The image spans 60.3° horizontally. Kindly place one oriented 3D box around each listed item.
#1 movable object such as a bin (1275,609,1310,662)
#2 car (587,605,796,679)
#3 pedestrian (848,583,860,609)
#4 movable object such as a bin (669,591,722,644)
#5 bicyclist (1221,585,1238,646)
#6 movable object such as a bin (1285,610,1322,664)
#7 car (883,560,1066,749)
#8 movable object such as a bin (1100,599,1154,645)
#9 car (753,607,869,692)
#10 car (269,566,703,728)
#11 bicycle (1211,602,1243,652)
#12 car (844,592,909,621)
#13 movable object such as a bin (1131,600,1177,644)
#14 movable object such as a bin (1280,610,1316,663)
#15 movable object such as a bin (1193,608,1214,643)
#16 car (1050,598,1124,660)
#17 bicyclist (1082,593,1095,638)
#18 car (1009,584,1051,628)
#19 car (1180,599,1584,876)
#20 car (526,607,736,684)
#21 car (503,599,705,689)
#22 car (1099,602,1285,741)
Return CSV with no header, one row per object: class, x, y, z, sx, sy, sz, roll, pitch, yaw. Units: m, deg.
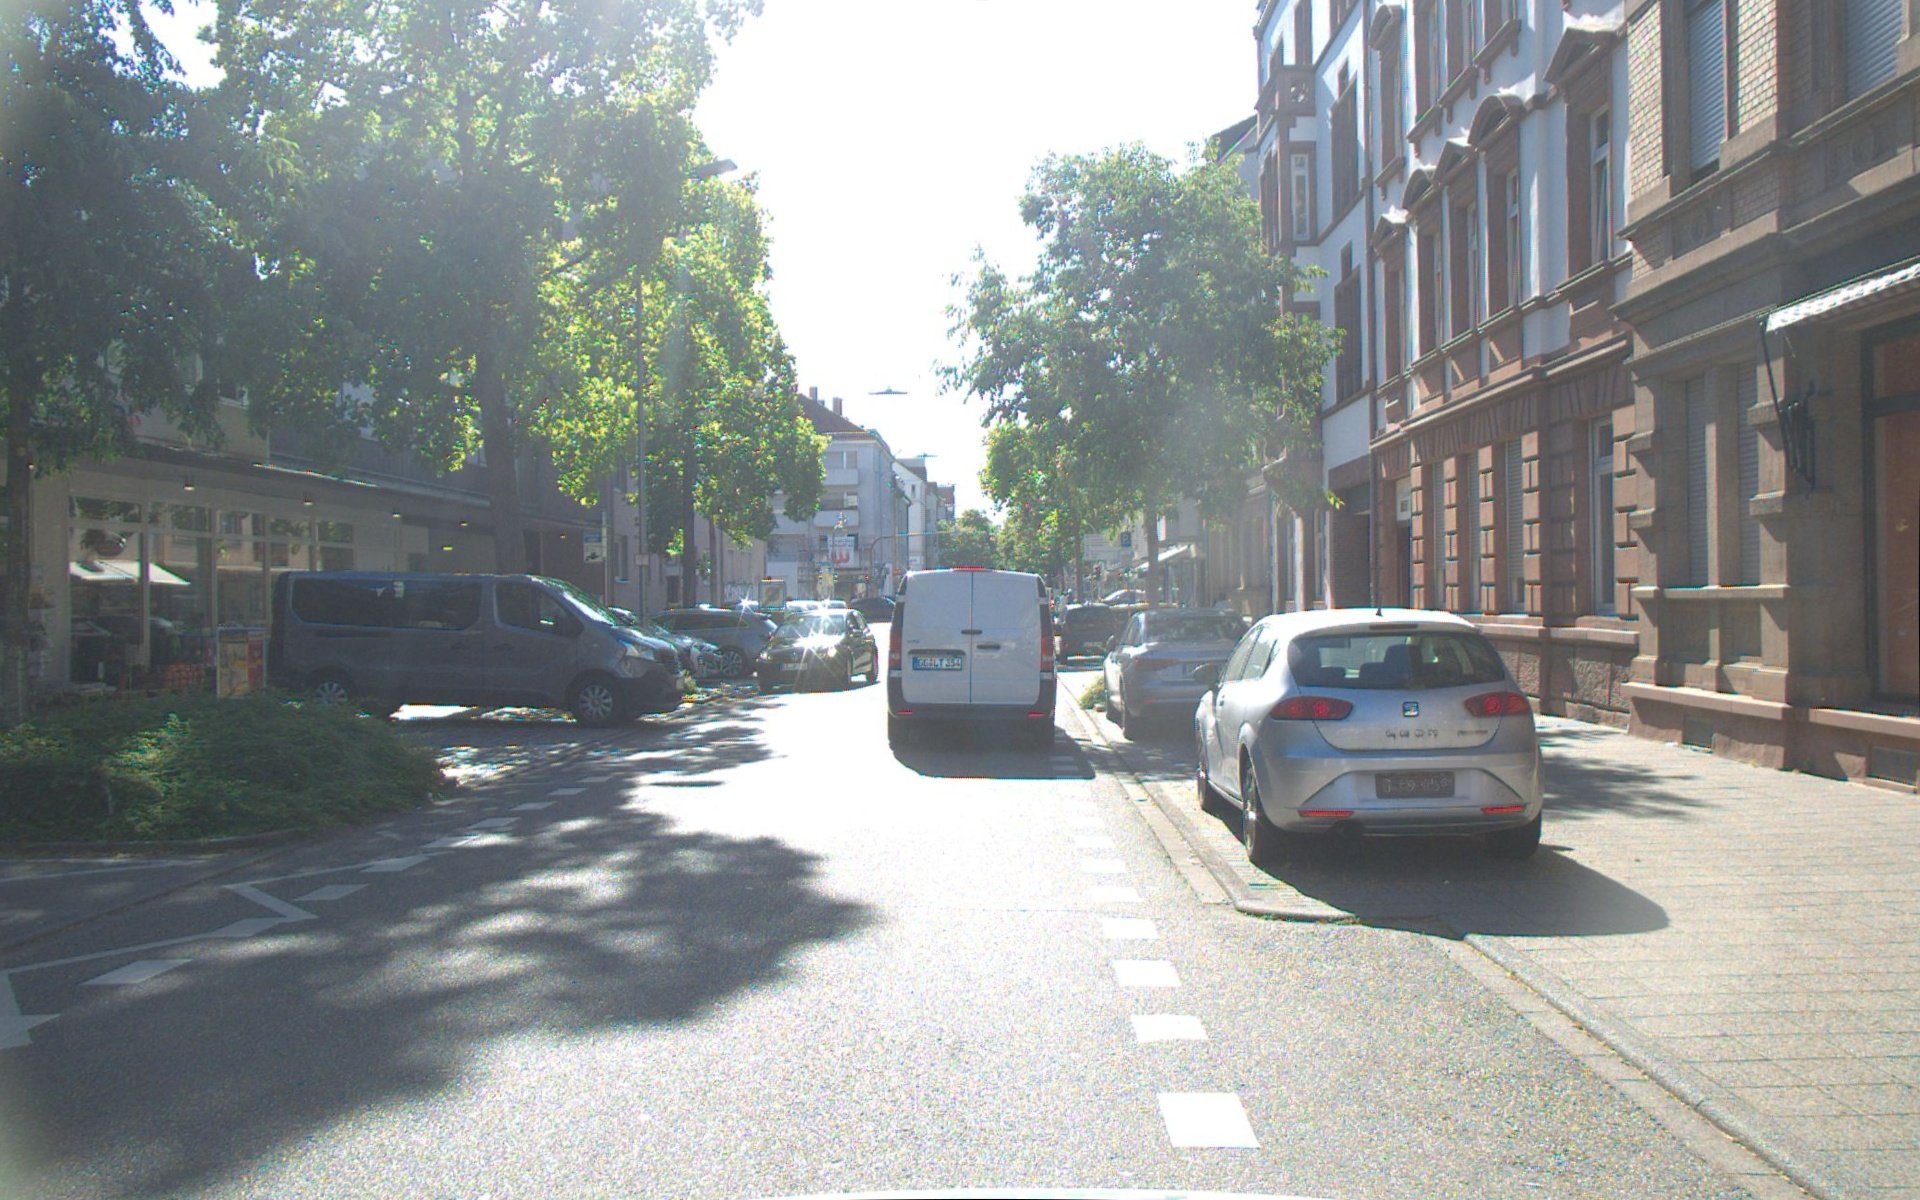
movable object such as a bin,7.053,0.749,35.098,0.624,1.087,0.632,-1,0,1
car,-5.824,0.899,36.212,4.215,1.485,1.763,1,0,3
pedestrian,-6.893,-0.254,107.549,0.669,1.692,0.601,-1,0,0
movable object such as a bin,-7.519,0.496,47.020,1.204,1.475,1.077,-1,0,9
bicyclist,6.671,0.386,40.941,0.353,1.503,0.531,0,0,2
movable object such as a bin,7.047,0.749,33.942,0.624,1.087,0.639,-1,0,1
car,0.118,0.545,19.606,1.881,1.947,4.887,0,0,-1
movable object such as a bin,5.156,0.667,51.092,1.260,1.371,1.092,-1,0,-41
car,-2.791,0.905,31.766,1.726,1.464,3.961,-2,0,1
car,-6.206,0.594,22.095,5.183,2.009,2.016,1,0,1
bicycle,6.597,0.662,40.940,0.525,1.168,2.125,-4,-1,4
car,-5.000,0.375,99.510,3.907,1.668,1.999,-1,0,-2
movable object such as a bin,6.131,0.681,52.222,1.022,1.371,1.103,-1,0,40
movable object such as a bin,7.049,0.751,34.513,0.624,1.087,0.521,-1,0,1
movable object such as a bin,7.503,0.786,50.968,0.586,1.060,0.546,-1,0,0
car,3.259,0.732,43.102,1.602,1.501,3.580,-1,0,0
bicyclist,4.411,0.542,56.817,0.430,1.535,0.497,0,0,1
car,3.222,0.267,76.934,1.778,1.955,4.644,-1,0,0
car,2.576,0.753,11.049,1.702,1.477,4.000,-1,0,1
car,-6.606,0.904,33.533,3.906,1.489,1.812,0,0,-2
car,-6.462,0.785,30.310,3.532,1.579,1.680,0,0,-10
car,2.714,0.784,20.217,1.702,1.477,4.308,-1,0,1
